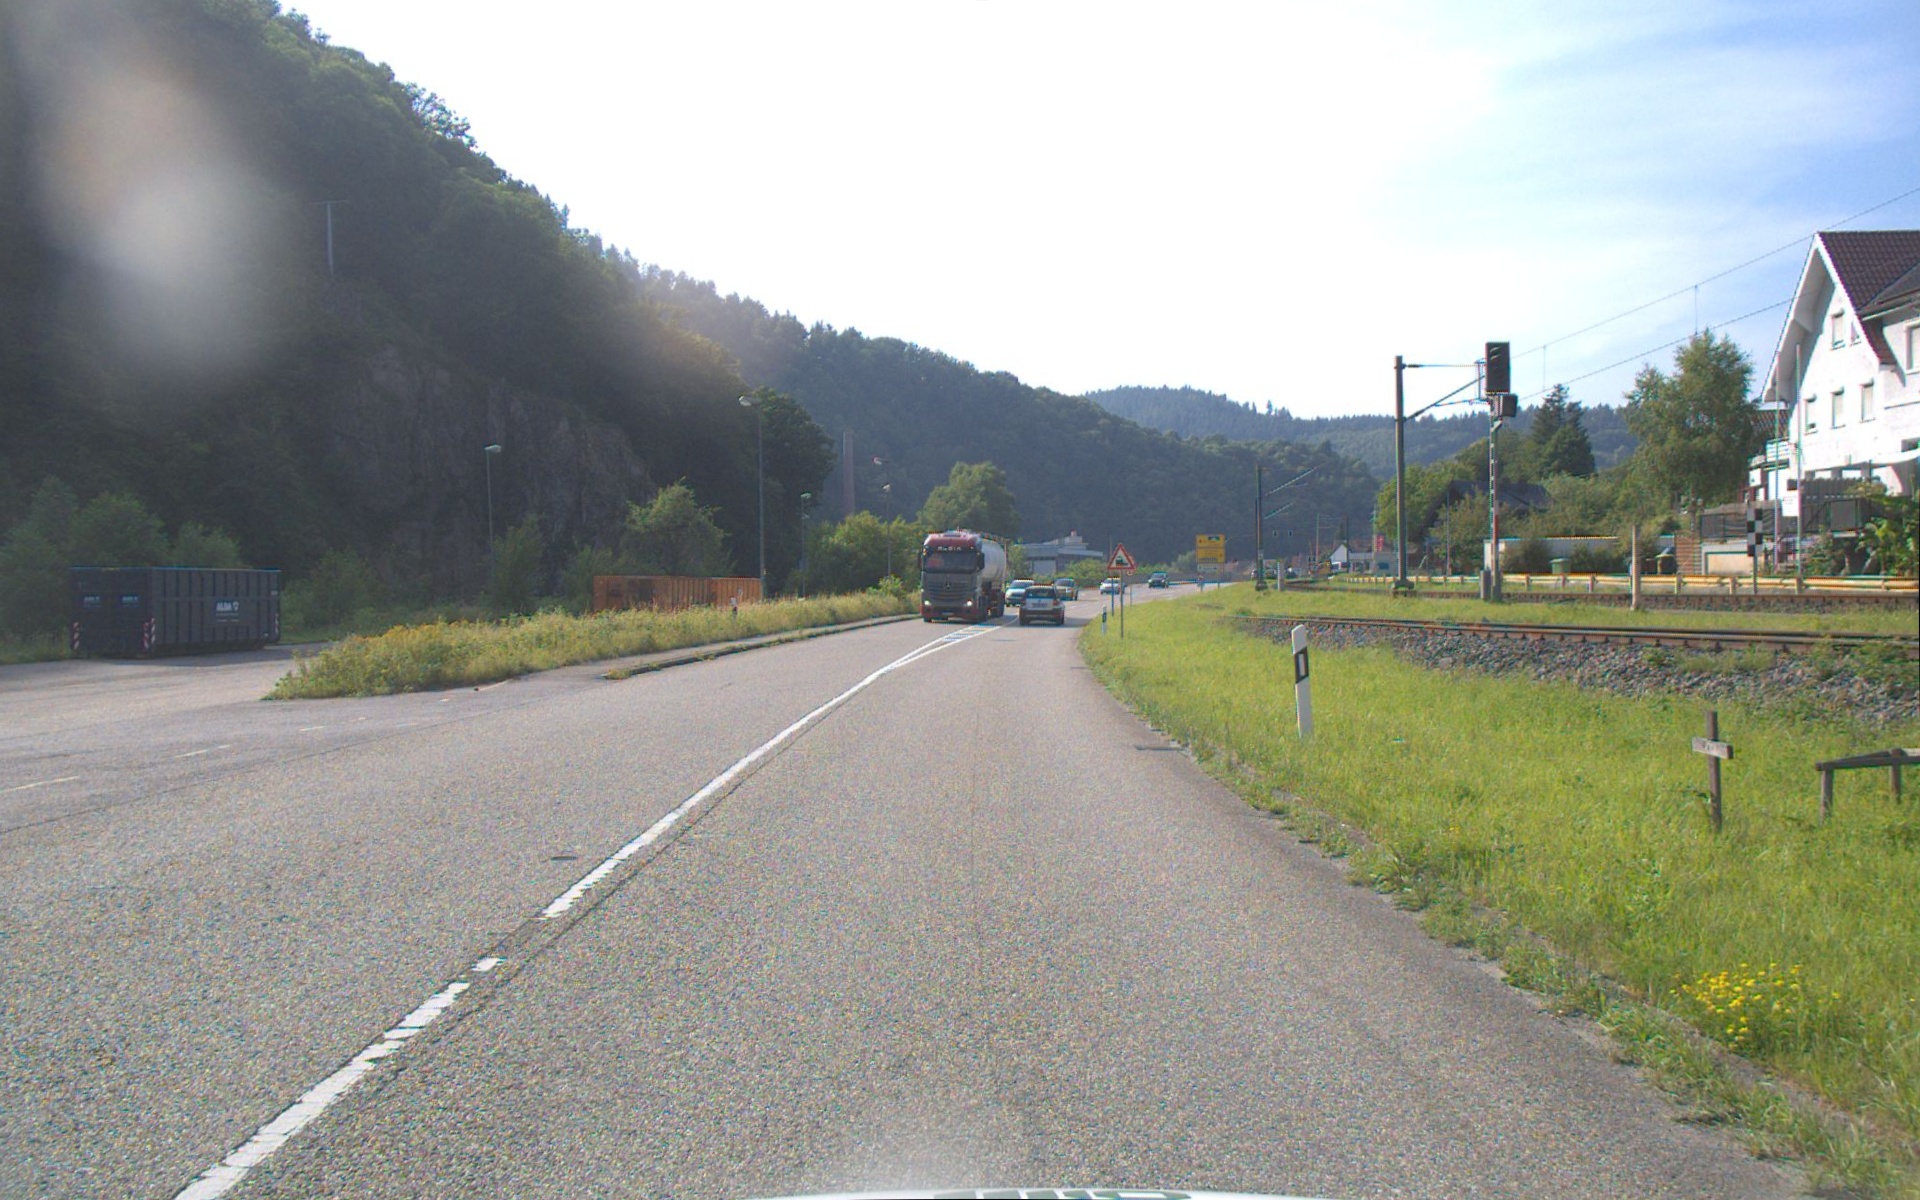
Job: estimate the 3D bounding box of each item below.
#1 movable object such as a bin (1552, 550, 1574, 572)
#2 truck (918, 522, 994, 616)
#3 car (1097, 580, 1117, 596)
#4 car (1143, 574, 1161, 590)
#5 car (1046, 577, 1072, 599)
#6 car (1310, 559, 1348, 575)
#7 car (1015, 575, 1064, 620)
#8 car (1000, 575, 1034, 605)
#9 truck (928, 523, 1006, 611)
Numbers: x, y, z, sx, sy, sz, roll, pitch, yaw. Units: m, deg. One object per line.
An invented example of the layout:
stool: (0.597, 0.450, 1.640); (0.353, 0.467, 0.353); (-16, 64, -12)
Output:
movable object such as a bin: (28.664, -1.858, 78.582); (0.790, 1.068, 0.913); (1, 1, 8)
truck: (-0.098, -1.360, 73.521); (2.692, 3.902, 8.203); (0, 1, 5)
car: (13.419, -1.091, 150.549); (1.740, 1.371, 4.514); (1, 1, 6)
car: (20.471, -1.914, 176.337); (1.808, 1.612, 4.320); (1, 2, 8)
car: (7.507, -0.931, 125.489); (1.687, 1.653, 3.799); (1, 1, 7)
car: (53.039, -4.753, 237.845); (5.166, 2.048, 2.002); (-3, 1, 11)
car: (3.404, -0.127, 70.660); (1.952, 1.753, 3.992); (-3, 0, 3)
car: (3.651, -0.656, 104.816); (1.951, 1.789, 4.472); (1, 1, 5)
truck: (0.516, -1.584, 80.671); (2.692, 3.902, 14.571); (0, 1, 5)
